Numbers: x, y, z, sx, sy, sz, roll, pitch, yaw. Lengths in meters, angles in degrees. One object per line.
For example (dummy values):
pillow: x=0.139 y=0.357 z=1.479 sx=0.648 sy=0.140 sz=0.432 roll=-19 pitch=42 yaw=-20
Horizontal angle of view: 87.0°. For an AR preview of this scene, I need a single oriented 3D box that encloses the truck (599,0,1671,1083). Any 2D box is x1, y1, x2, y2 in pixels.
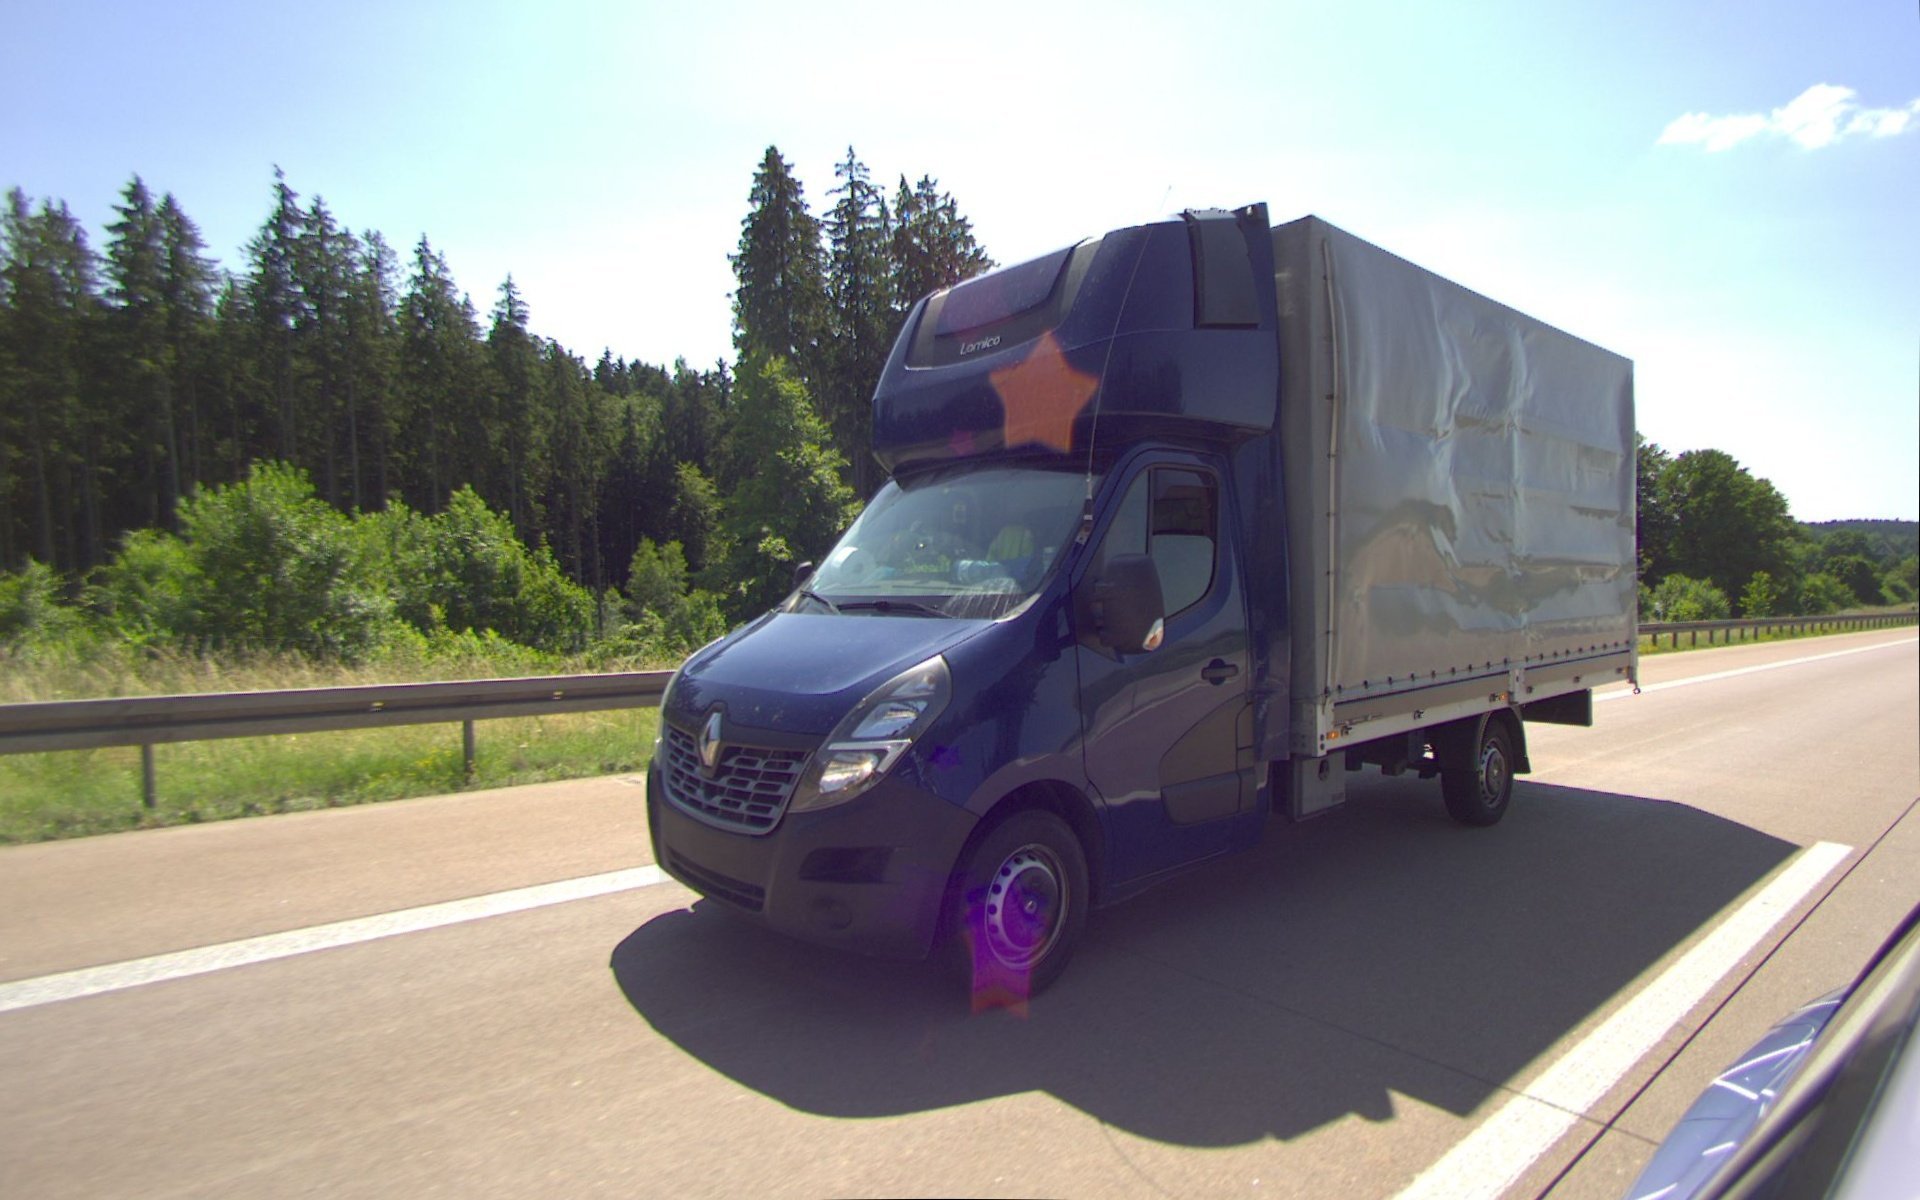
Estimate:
truck: x=1.957 y=-0.273 z=6.422 sx=7.650 sy=3.259 sz=2.506 roll=0 pitch=1 yaw=-42
